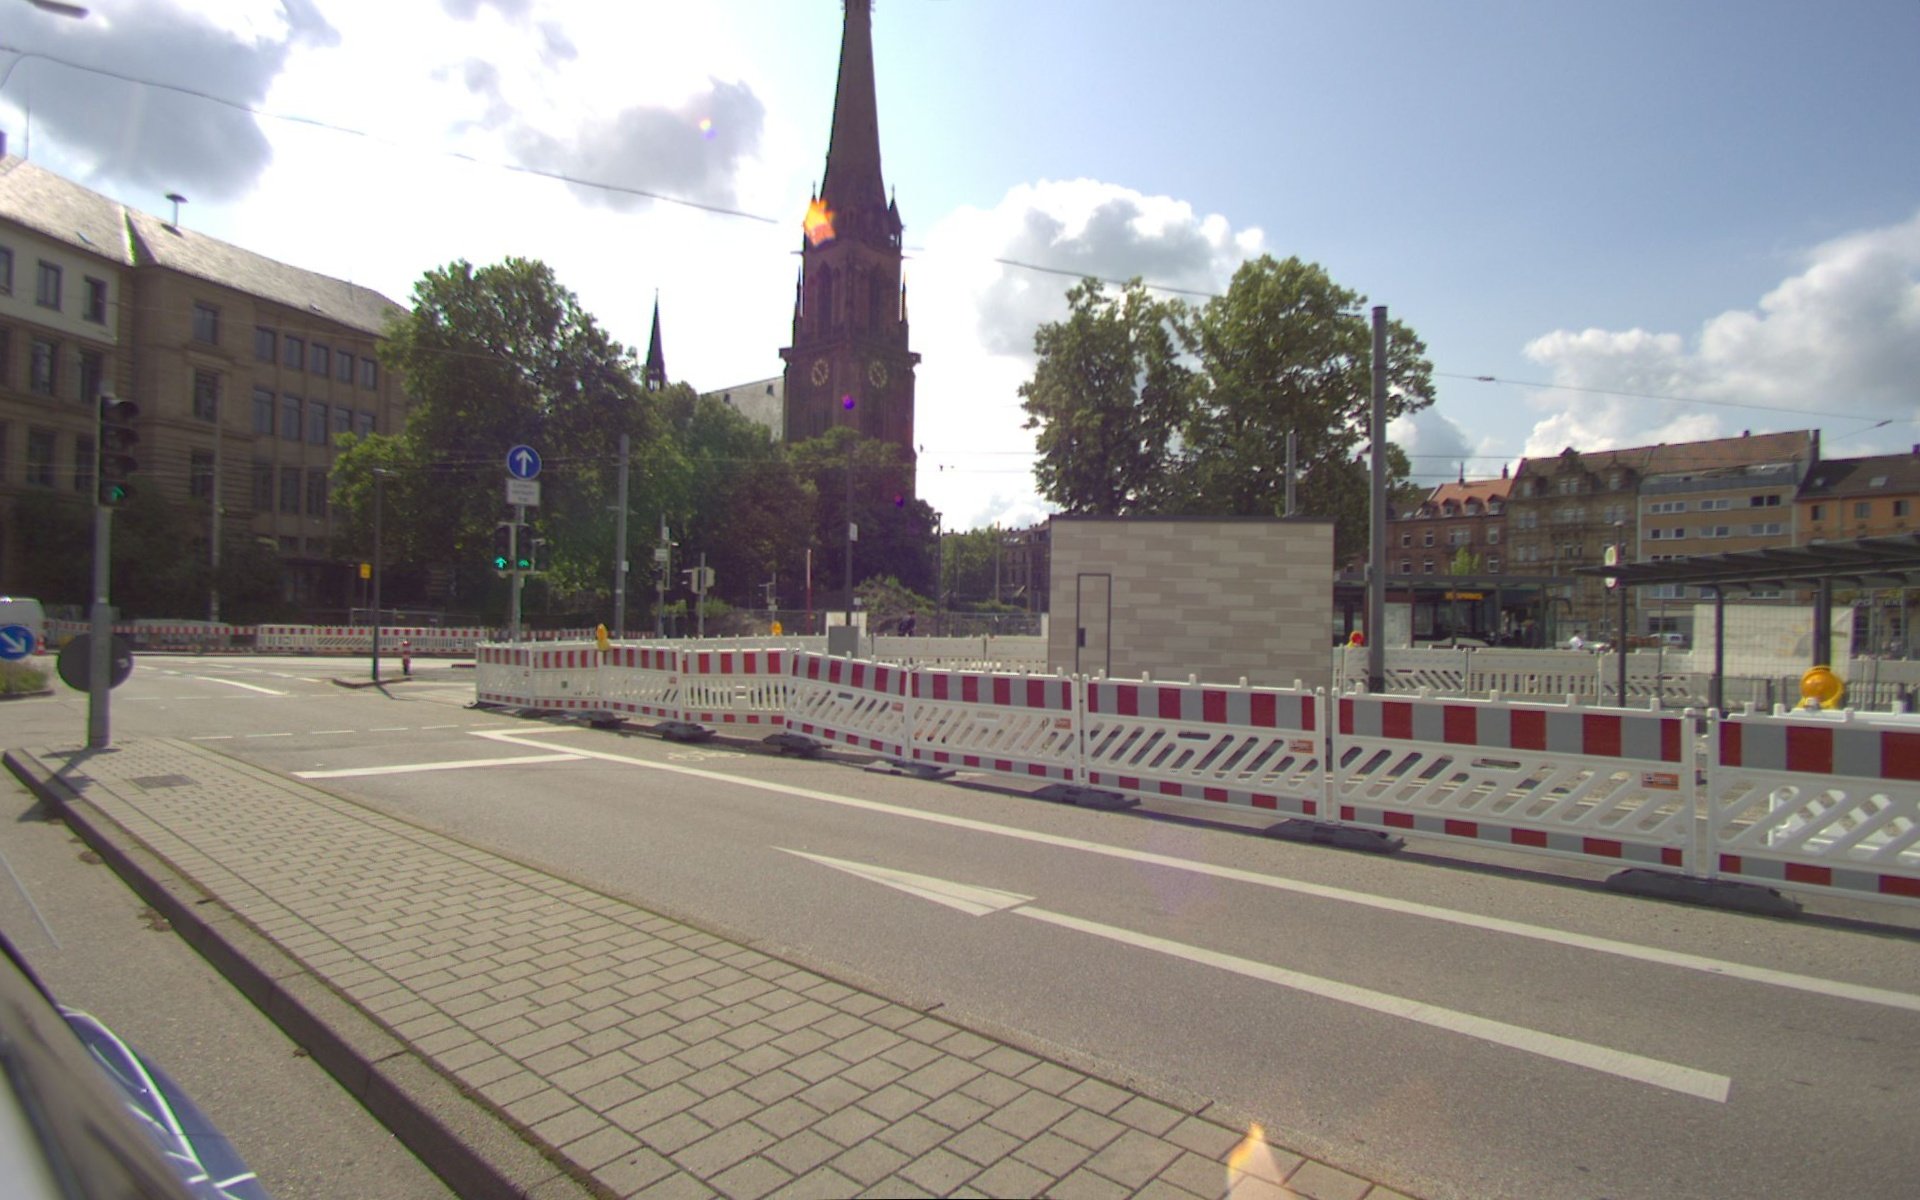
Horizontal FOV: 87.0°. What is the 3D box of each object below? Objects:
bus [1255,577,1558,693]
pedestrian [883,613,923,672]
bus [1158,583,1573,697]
[{"bbox_3d":[12.748,0.982,29.464,7.670,3.081,2.369,1,-2,7],"label":"bus"},{"bbox_3d":[-1.693,1.271,30.240,0.834,1.719,1.202,1,-2,14],"label":"pedestrian"},{"bbox_3d":[12.582,1.227,32.515,11.930,3.287,2.987,1,-2,7],"label":"bus"}]
